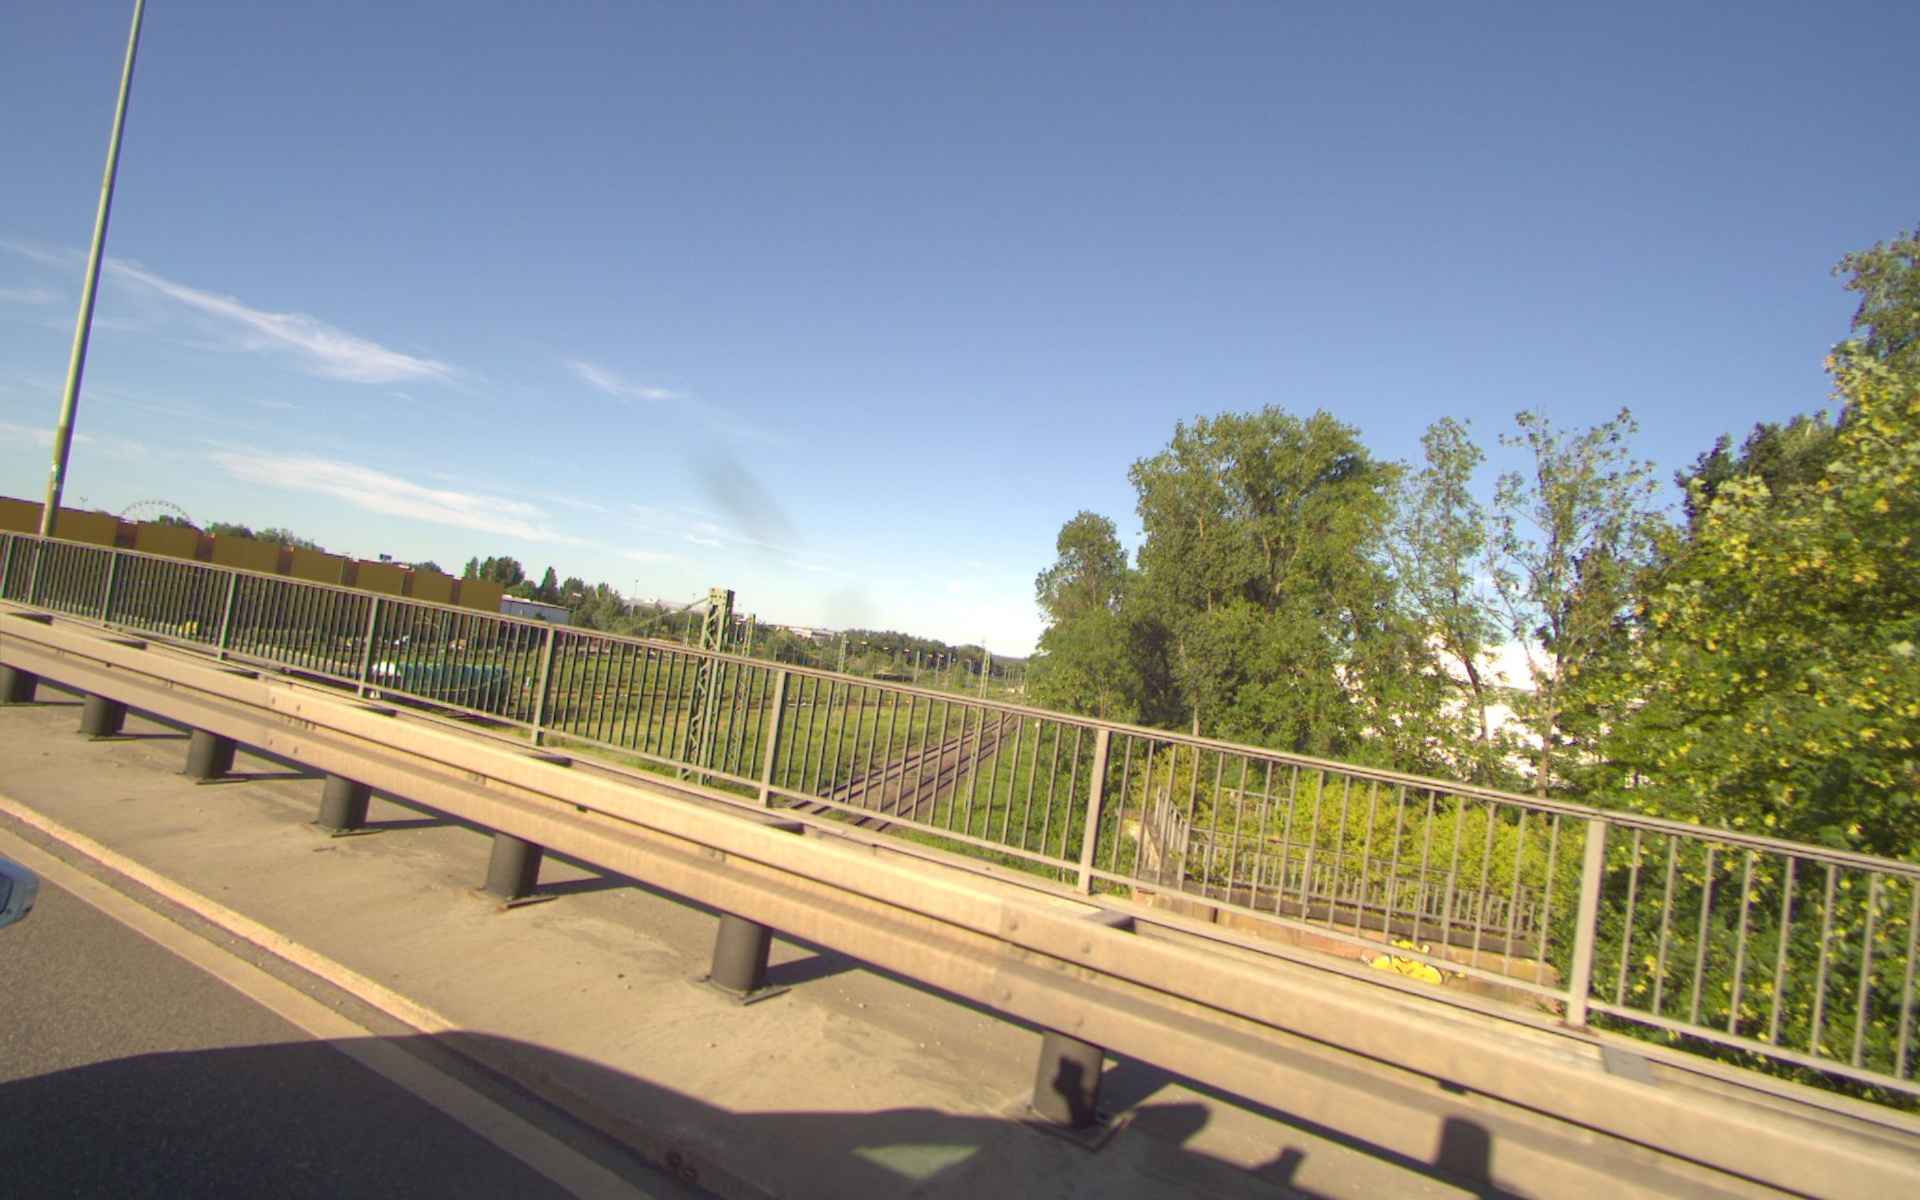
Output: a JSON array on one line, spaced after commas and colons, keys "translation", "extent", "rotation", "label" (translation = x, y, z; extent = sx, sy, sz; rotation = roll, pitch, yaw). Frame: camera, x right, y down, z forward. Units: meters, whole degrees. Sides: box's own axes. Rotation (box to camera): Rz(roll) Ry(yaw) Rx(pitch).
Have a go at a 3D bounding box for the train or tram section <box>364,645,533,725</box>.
[{"translation": [-39.708, 6.448, 79.332], "extent": [3.273, 5.243, 15.197], "rotation": [7, -2, 8], "label": "train or tram section"}]
